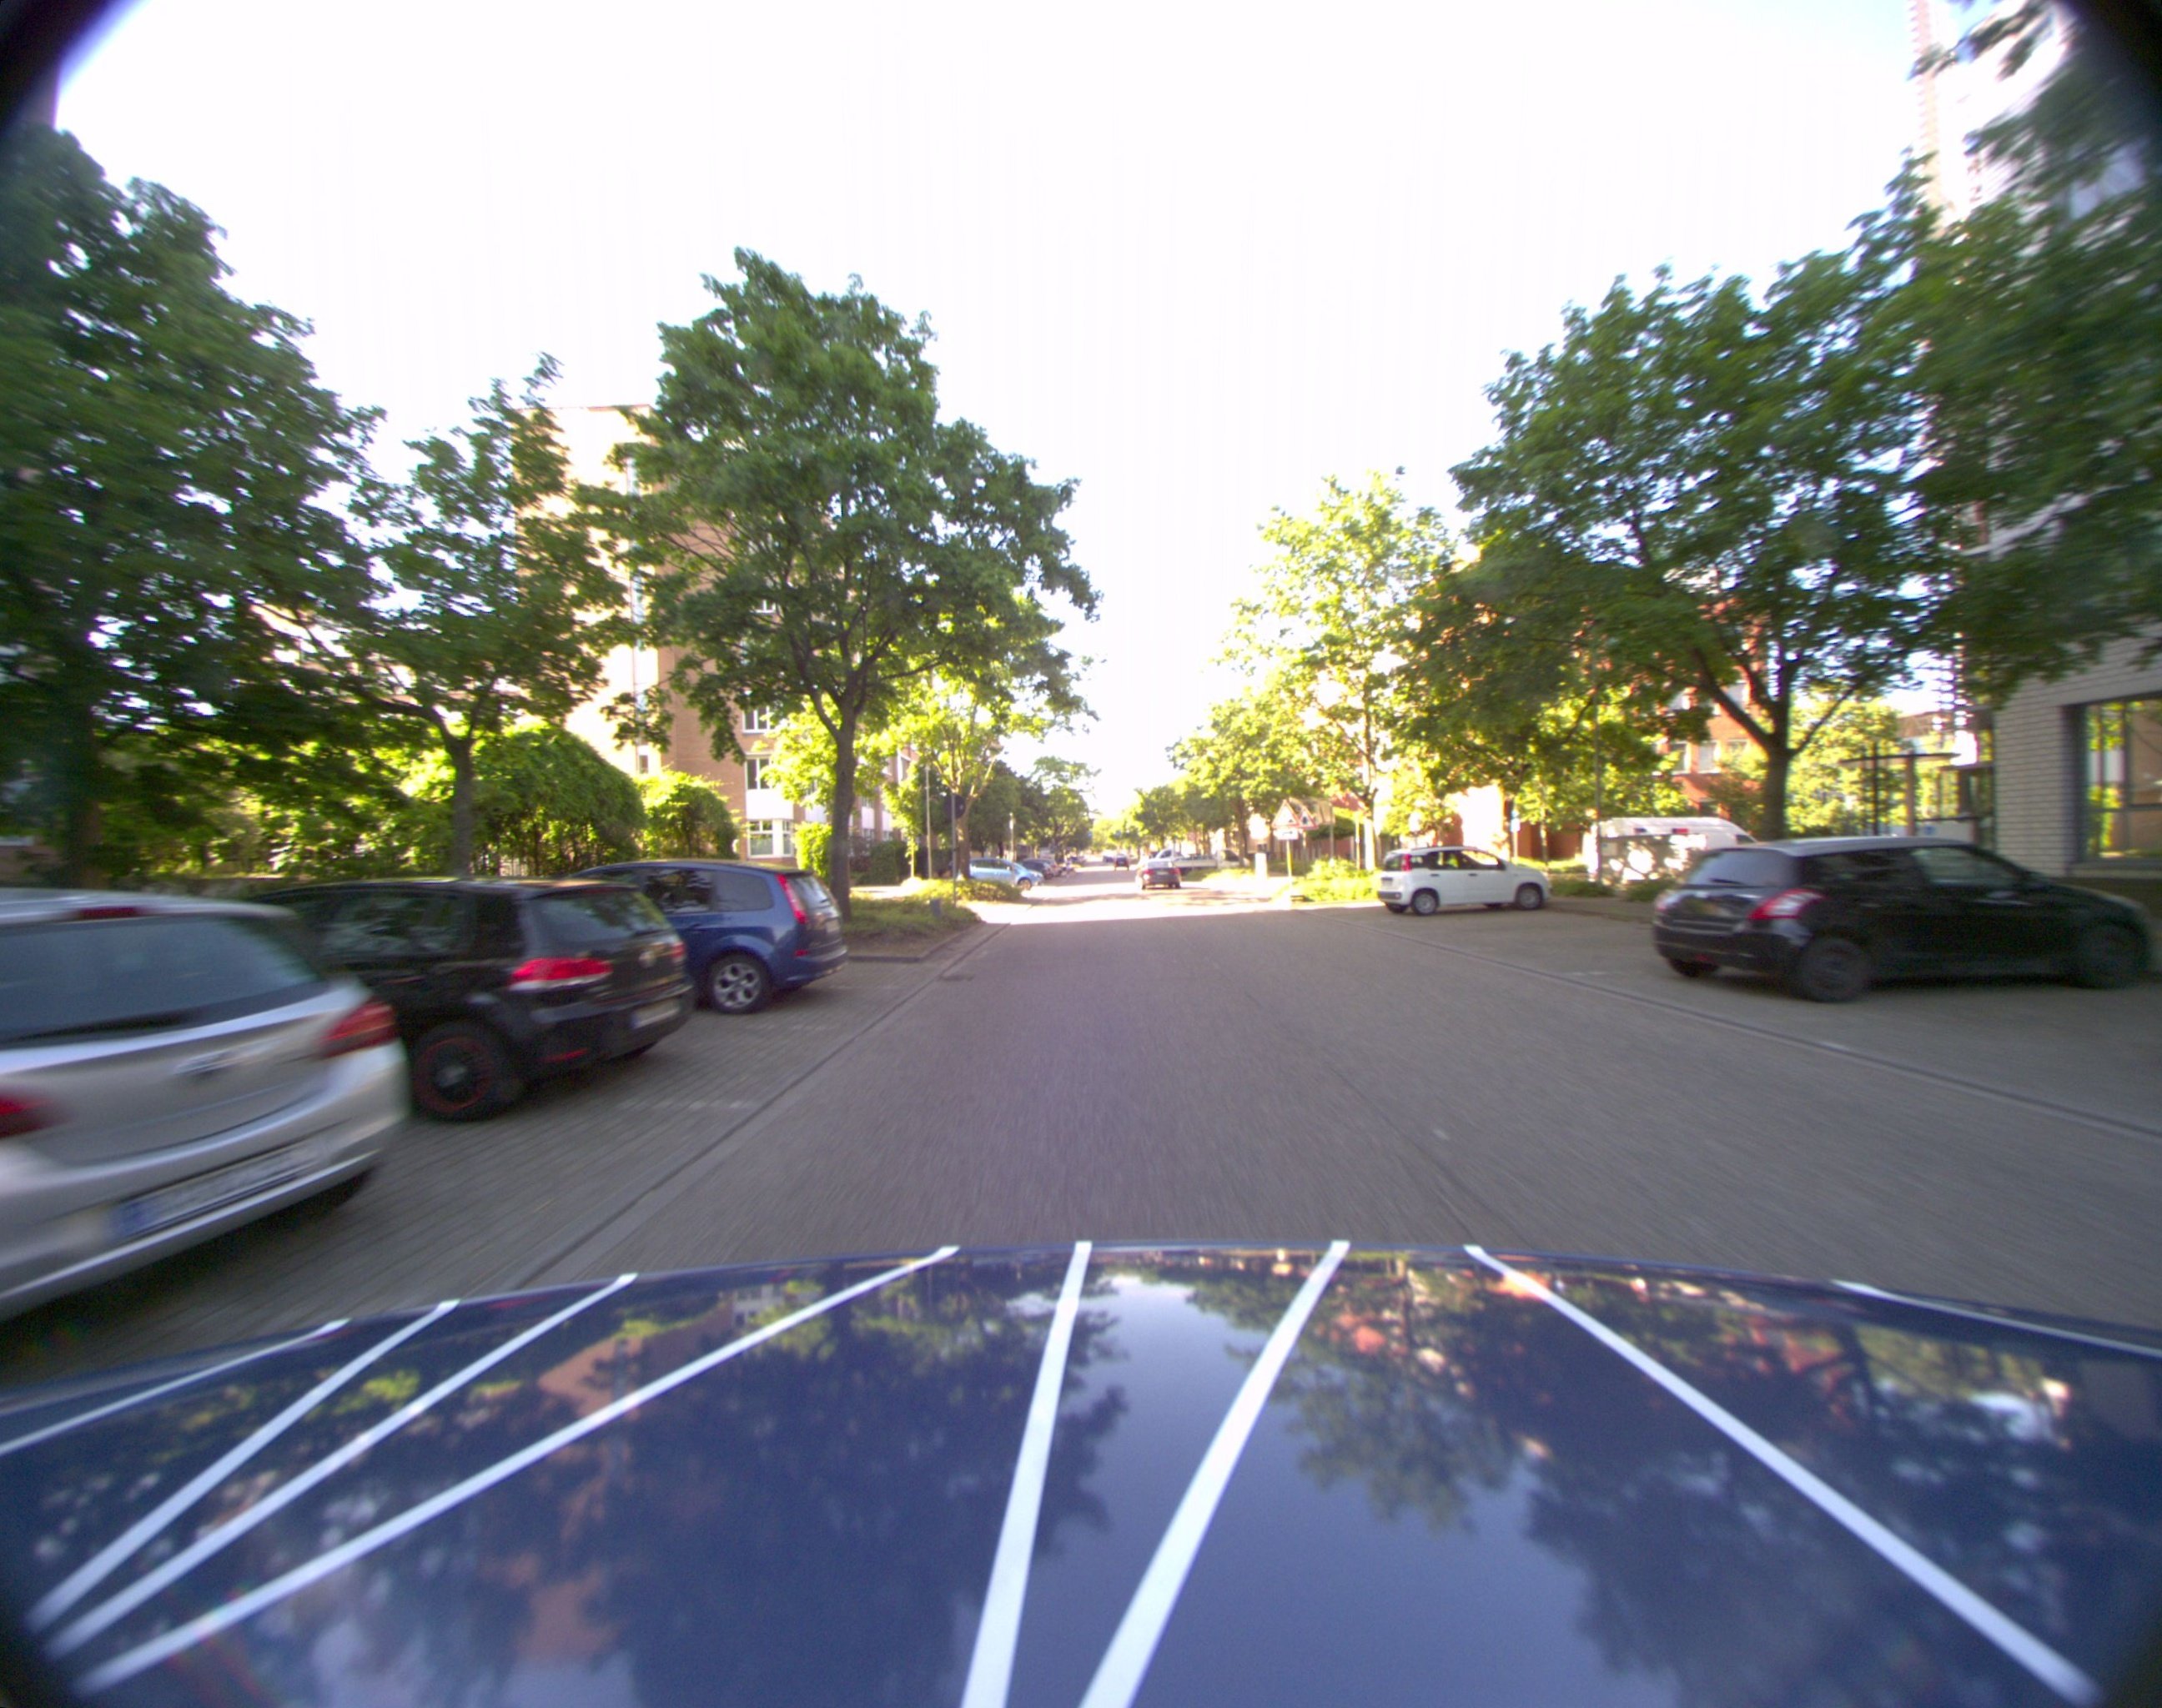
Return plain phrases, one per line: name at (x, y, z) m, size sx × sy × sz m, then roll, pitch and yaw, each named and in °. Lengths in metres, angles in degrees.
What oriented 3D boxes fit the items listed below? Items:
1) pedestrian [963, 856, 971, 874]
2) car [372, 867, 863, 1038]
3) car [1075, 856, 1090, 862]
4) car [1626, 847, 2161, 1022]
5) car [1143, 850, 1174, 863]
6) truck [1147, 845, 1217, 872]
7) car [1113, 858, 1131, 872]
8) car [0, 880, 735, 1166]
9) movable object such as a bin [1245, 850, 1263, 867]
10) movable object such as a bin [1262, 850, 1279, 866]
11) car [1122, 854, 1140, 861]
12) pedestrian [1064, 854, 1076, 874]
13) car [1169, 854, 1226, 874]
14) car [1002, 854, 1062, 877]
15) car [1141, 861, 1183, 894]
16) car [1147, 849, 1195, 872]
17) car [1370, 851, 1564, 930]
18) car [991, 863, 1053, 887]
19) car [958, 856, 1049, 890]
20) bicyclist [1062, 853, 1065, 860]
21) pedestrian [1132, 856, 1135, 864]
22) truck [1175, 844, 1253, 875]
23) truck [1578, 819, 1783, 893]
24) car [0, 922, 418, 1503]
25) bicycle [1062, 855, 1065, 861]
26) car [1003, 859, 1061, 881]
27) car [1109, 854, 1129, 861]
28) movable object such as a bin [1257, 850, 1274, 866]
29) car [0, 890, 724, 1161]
pedestrian at (-9.325, 0.897, 62.186) m, size 0.604 × 1.512 × 0.594 m, roll -2°, pitch 0°, yaw -4°
car at (-4.834, 0.985, 8.443) m, size 4.279 × 1.624 × 1.858 m, roll -1°, pitch 0°, yaw -1°
car at (0.308, 1.283, 204.539) m, size 3.997 × 1.470 × 1.804 m, roll -1°, pitch 0°, yaw -2°
car at (7.906, 0.717, 7.561) m, size 3.742 × 1.455 × 1.676 m, roll -2°, pitch 0°, yaw 0°
car at (10.150, 0.336, 99.548) m, size 3.764 × 1.443 × 1.754 m, roll -4°, pitch -1°, yaw 0°
truck at (9.418, 0.417, 71.222) m, size 6.247 × 2.407 × 2.187 m, roll -2°, pitch 0°, yaw 2°
car at (5.015, 1.367, 93.353) m, size 1.897 × 1.674 × 4.352 m, roll -1°, pitch 0°, yaw -1°
car at (-4.781, 0.983, 5.246) m, size 3.891 × 1.517 × 1.896 m, roll -1°, pitch 0°, yaw 4°
movable object such as a bin at (18.769, 0.468, 82.367) m, size 1.602 × 1.786 × 1.664 m, roll -1°, pitch 0°, yaw 3°
movable object such as a bin at (18.930, 0.443, 75.856) m, size 1.149 × 1.553 × 1.243 m, roll -1°, pitch 0°, yaw -11°
car at (11.962, 0.837, 181.351) m, size 4.003 × 1.411 × 1.618 m, roll -3°, pitch 0°, yaw 0°
pedestrian at (-0.943, 0.828, 64.645) m, size 0.921 × 1.701 × 0.697 m, roll 2°, pitch 0°, yaw -12°
car at (9.985, 0.877, 65.517) m, size 4.553 × 1.433 × 1.890 m, roll -3°, pitch -1°, yaw 0°
car at (-3.703, 0.865, 57.031) m, size 4.365 × 1.588 × 1.938 m, roll -2°, pitch 0°, yaw -5°
car at (3.751, 1.059, 35.837) m, size 1.817 × 1.407 × 4.109 m, roll -2°, pitch 0°, yaw 5°
car at (9.077, 0.622, 76.681) m, size 4.493 × 2.040 × 2.000 m, roll -3°, pitch 0°, yaw -1°
car at (8.679, 0.789, 17.269) m, size 3.590 × 1.541 × 1.636 m, roll -2°, pitch 3°, yaw -1°
car at (-3.822, 1.345, 49.683) m, size 3.856 × 1.474 × 1.825 m, roll 1°, pitch -1°, yaw 1°
car at (-3.884, 0.953, 38.744) m, size 4.416 × 1.609 × 1.912 m, roll 1°, pitch 0°, yaw 0°
bicyclist at (-3.771, 0.513, 162.195) m, size 0.538 × 1.627 × 0.822 m, roll -1°, pitch 0°, yaw 2°
pedestrian at (9.181, 1.058, 133.064) m, size 0.432 × 1.365 × 0.418 m, roll -2°, pitch 0°, yaw 1°
truck at (8.984, 0.378, 51.783) m, size 4.996 × 1.948 × 2.139 m, roll -2°, pitch 0°, yaw 3°
truck at (23.648, 0.070, 30.193) m, size 6.120 × 2.689 × 2.578 m, roll -1°, pitch 0°, yaw -1°
car at (-4.712, 1.031, 2.567) m, size 3.643 × 1.458 × 1.634 m, roll 0°, pitch 0°, yaw 5°
bicycle at (-3.755, 0.855, 162.199) m, size 0.535 × 1.072 × 1.920 m, roll -1°, pitch 0°, yaw 2°
car at (-3.278, 1.089, 51.607) m, size 3.809 × 1.400 × 1.702 m, roll 1°, pitch -1°, yaw 1°
car at (10.236, 0.942, 203.389) m, size 5.317 × 1.875 × 2.000 m, roll -1°, pitch 0°, yaw 2°
movable object such as a bin at (18.695, 0.440, 77.151) m, size 1.149 × 1.610 × 1.440 m, roll -1°, pitch 0°, yaw -11°
car at (-4.846, 1.029, 5.349) m, size 3.749 × 1.458 × 1.911 m, roll 0°, pitch 0°, yaw 2°
